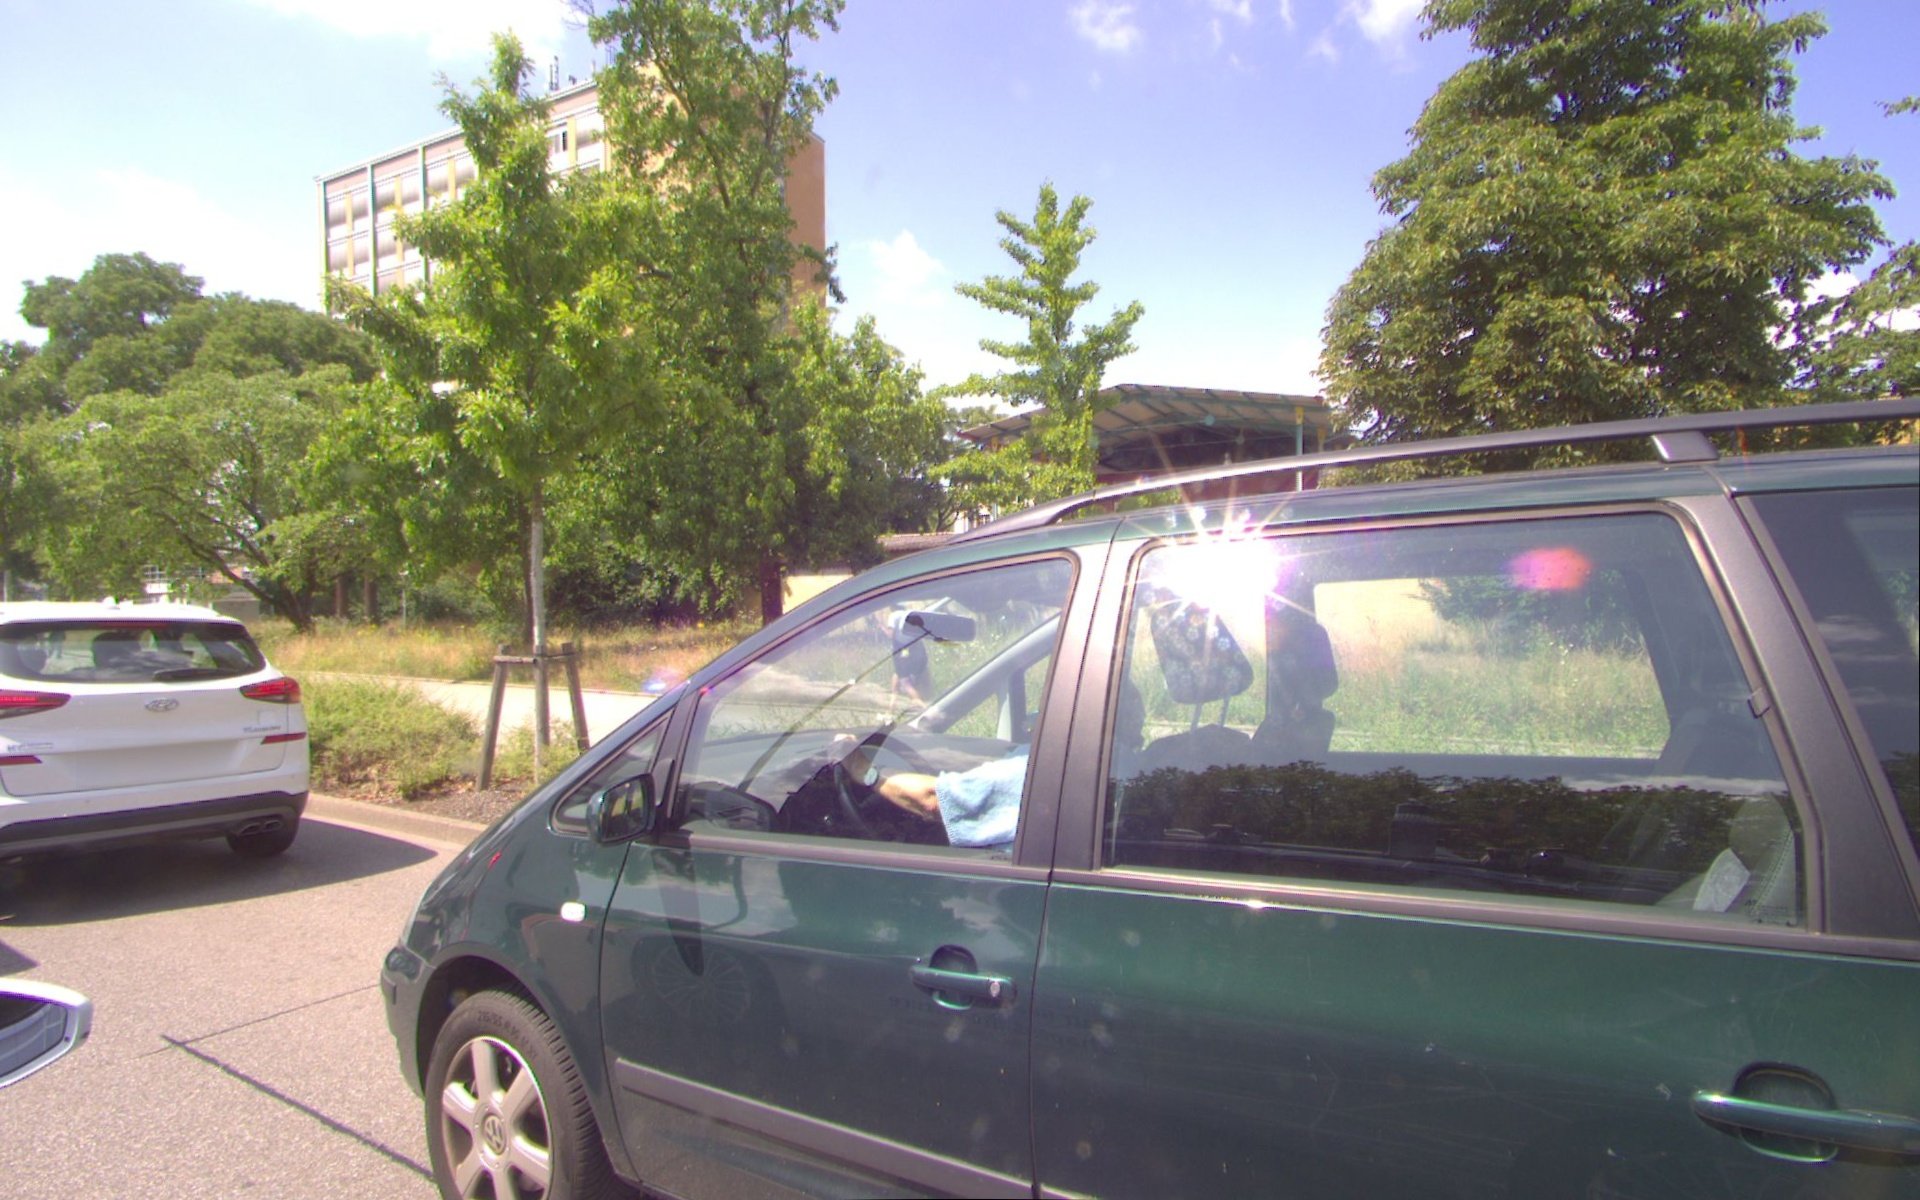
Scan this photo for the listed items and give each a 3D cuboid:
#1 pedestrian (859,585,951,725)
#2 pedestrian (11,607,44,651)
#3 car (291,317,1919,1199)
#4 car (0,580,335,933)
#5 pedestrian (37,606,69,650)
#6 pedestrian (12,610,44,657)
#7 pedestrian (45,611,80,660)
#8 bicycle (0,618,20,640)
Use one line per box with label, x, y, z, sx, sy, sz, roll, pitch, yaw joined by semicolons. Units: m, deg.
pedestrian;-0.645;0.622;11.806;0.805;1.578;0.757;0;1;34
pedestrian;-39.780;1.234;42.722;0.802;1.874;0.759;0;1;22
car;0.553;0.631;2.261;4.329;1.737;1.799;0;-2;32
car;-5.920;0.770;6.430;3.919;1.700;1.810;0;0;34
pedestrian;-39.536;1.203;43.646;0.803;1.874;0.759;0;1;24
pedestrian;-37.843;1.339;40.662;0.804;1.874;0.757;0;1;32
pedestrian;-31.546;1.242;35.214;0.805;1.677;0.756;0;1;36
bicycle;-69.154;2.073;72.531;1.415;1.483;4.270;0;0;-42
